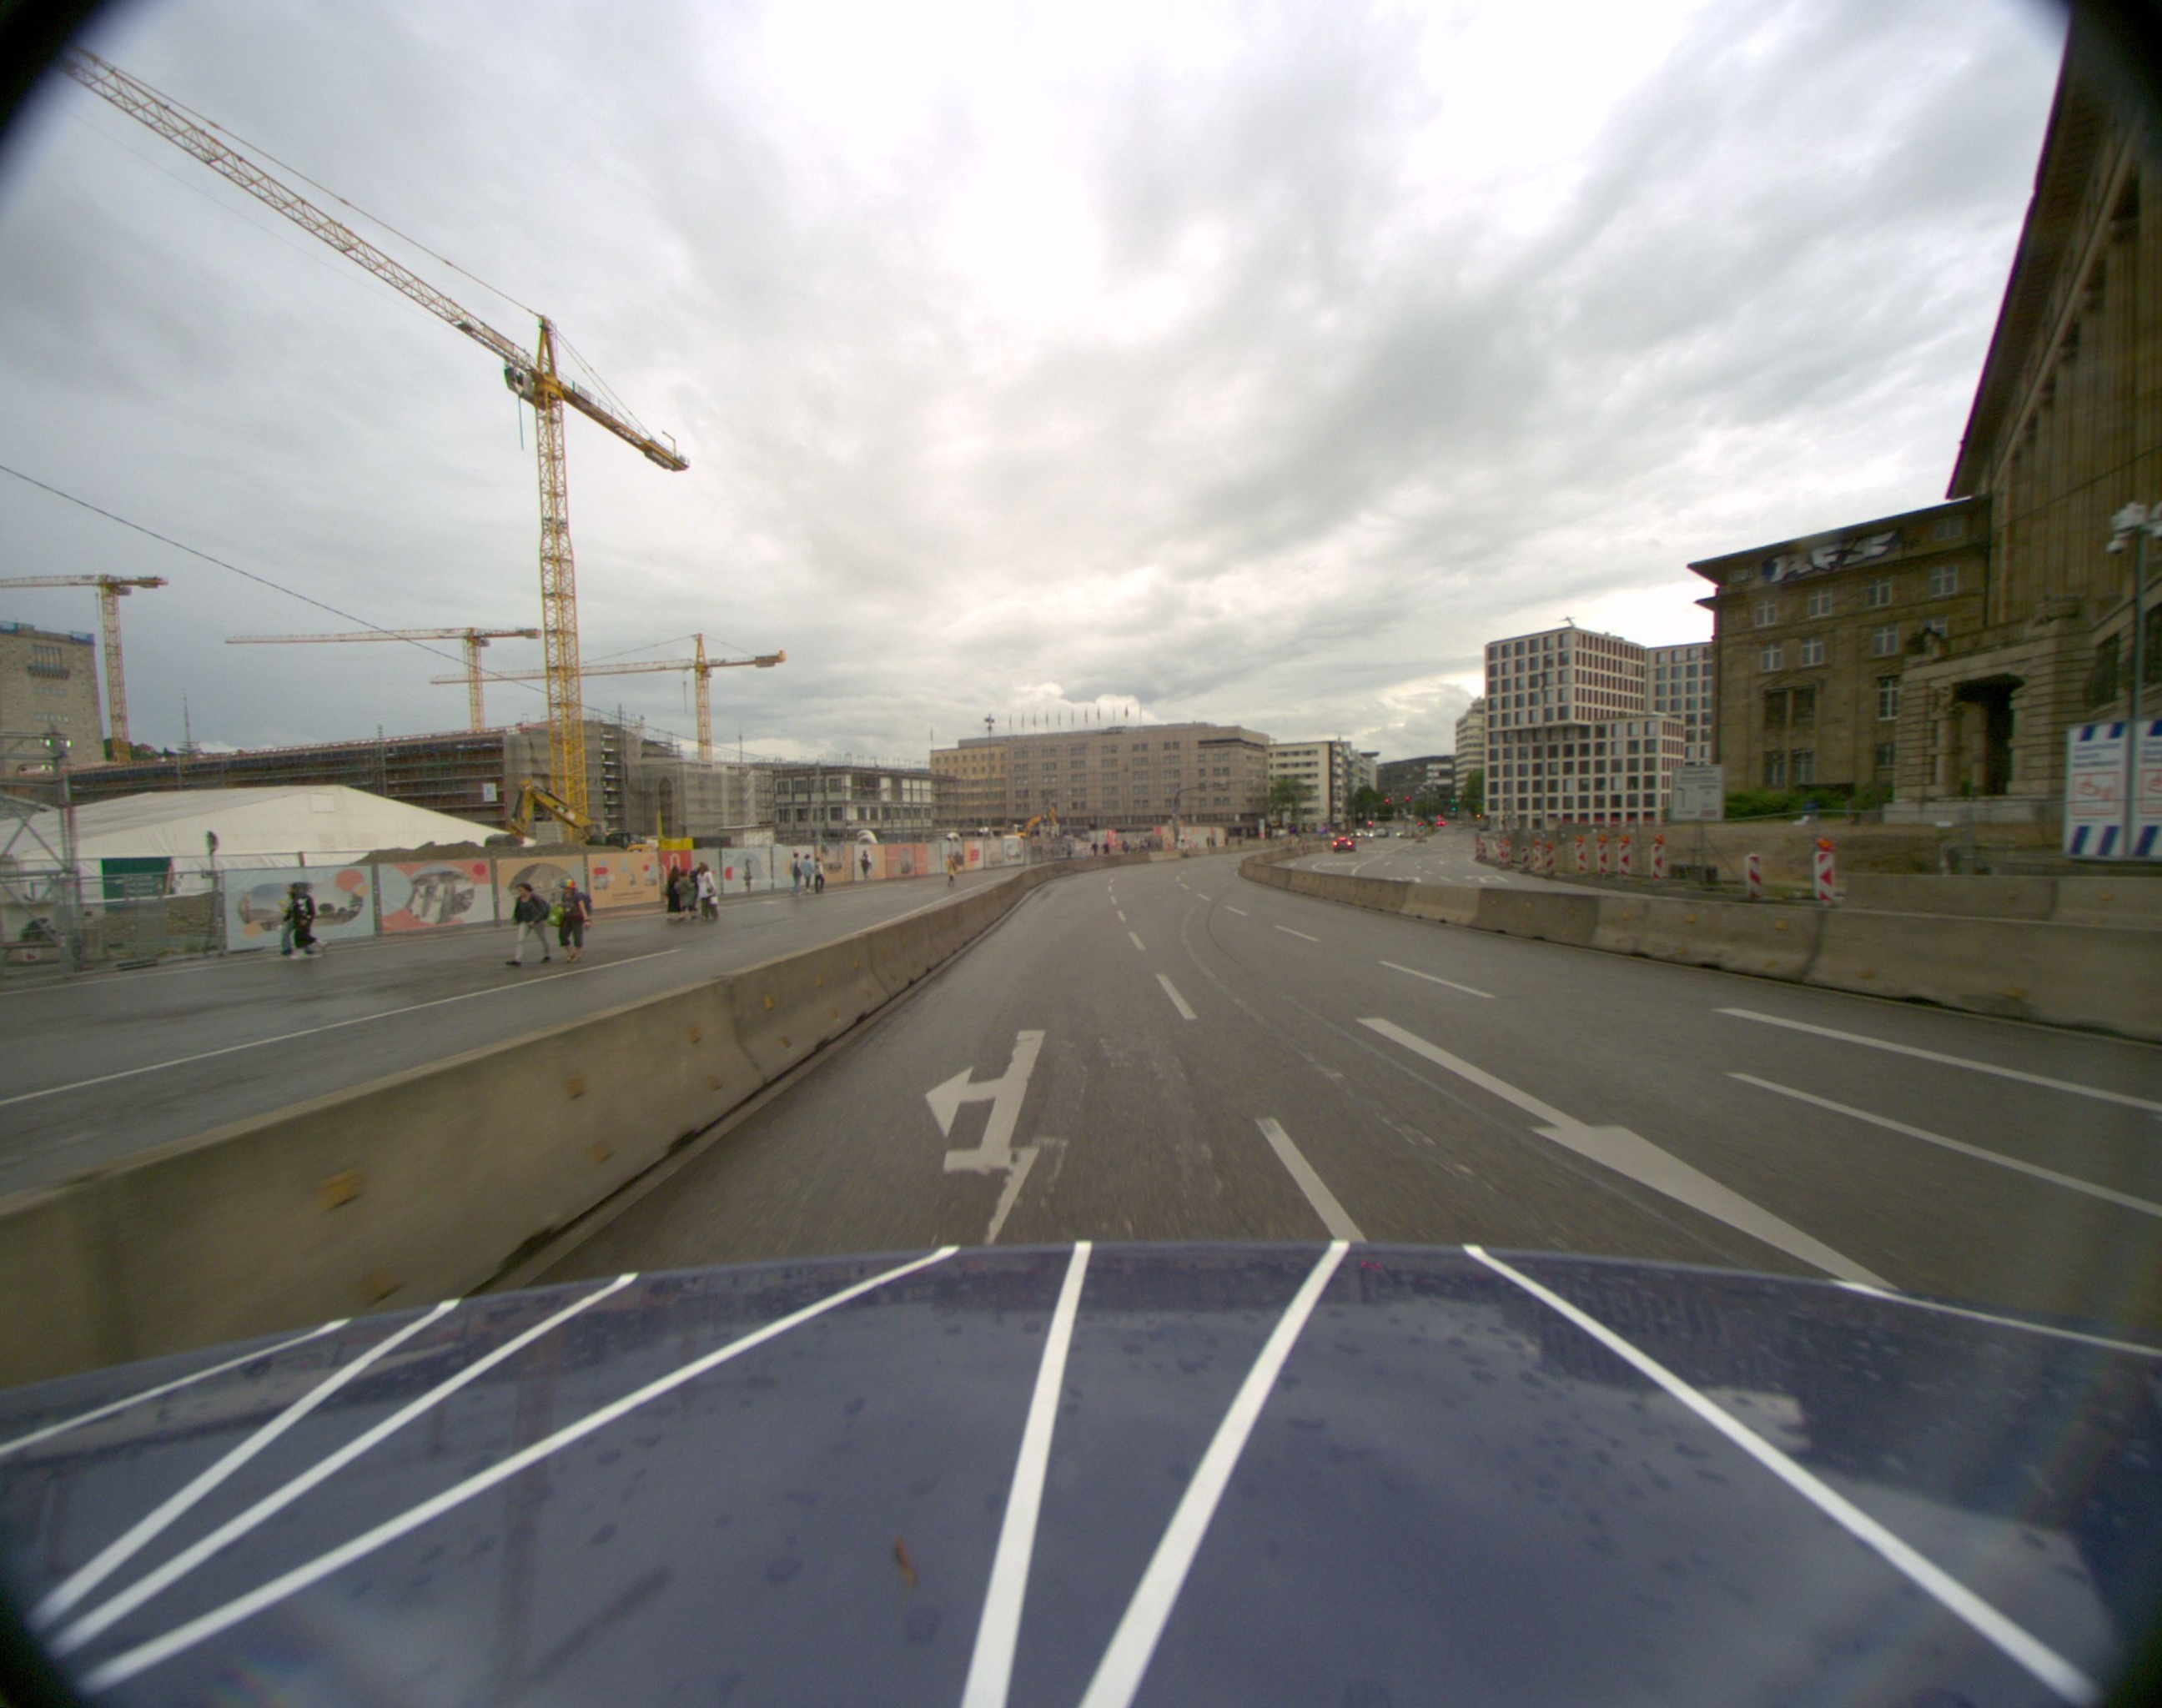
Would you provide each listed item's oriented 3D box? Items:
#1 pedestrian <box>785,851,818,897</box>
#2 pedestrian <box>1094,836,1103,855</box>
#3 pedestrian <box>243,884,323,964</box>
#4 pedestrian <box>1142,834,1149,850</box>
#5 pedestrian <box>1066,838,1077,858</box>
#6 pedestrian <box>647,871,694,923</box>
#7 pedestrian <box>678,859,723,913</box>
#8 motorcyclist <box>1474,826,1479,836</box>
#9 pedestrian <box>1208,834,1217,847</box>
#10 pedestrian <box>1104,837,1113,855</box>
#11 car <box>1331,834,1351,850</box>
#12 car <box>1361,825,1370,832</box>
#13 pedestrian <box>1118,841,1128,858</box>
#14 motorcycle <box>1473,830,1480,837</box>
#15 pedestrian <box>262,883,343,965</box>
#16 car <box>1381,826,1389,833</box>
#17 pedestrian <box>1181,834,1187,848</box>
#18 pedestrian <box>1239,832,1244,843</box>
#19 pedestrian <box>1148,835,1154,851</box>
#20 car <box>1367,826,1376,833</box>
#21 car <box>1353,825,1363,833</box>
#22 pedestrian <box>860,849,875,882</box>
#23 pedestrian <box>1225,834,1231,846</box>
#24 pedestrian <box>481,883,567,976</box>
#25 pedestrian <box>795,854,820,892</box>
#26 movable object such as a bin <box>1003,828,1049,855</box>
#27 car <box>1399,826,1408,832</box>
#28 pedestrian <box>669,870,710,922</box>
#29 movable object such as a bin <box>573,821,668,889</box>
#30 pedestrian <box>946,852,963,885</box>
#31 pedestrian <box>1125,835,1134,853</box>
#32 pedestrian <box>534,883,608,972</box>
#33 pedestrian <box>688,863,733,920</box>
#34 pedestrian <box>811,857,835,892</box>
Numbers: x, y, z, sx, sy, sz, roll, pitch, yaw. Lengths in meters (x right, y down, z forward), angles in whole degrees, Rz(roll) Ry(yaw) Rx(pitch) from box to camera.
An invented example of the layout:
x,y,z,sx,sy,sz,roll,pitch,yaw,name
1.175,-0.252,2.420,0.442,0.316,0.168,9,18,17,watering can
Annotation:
x,y,z,sx,sy,sz,roll,pitch,yaw,name
-11.752,0.823,31.941,0.818,1.839,0.933,1,3,37,pedestrian
1.542,-0.778,68.734,0.648,1.734,0.766,1,3,14,pedestrian
-18.404,1.581,17.532,0.866,1.680,1.010,0,3,29,pedestrian
6.771,-1.244,79.599,0.585,1.699,0.677,1,3,12,pedestrian
-0.821,-0.501,64.867,0.745,1.696,0.687,1,3,14,pedestrian
-12.822,1.322,23.744,0.715,1.544,1.009,0,3,20,pedestrian
-13.287,1.108,26.547,0.867,1.808,1.009,0,3,20,pedestrian
59.937,-3.549,115.147,0.703,1.478,0.964,0,3,22,motorcyclist
18.362,-1.892,106.054,1.097,1.751,0.907,2,3,27,pedestrian
2.498,-0.745,68.708,0.648,1.637,0.948,1,3,14,pedestrian
26.205,-1.222,76.467,1.768,1.513,4.392,0,2,20,car
68.977,-6.177,184.049,1.995,1.838,4.005,0,2,22,car
4.155,-0.419,75.134,0.654,1.681,0.777,2,3,24,pedestrian
60.007,-3.113,115.296,0.703,0.888,1.825,0,2,22,motorcycle
-17.511,1.543,17.107,0.866,1.716,1.010,0,3,29,pedestrian
68.397,-5.529,170.805,1.706,1.445,3.800,0,2,22,car
12.558,-1.594,92.412,0.648,1.660,0.766,1,3,12,pedestrian
24.262,-2.479,115.067,0.653,1.751,0.549,1,3,12,pedestrian
7.608,-1.200,82.583,0.648,1.751,0.584,1,3,12,pedestrian
66.298,-5.577,173.426,1.995,1.445,4.005,0,2,22,car
64.335,-5.805,176.528,1.995,1.814,4.005,0,2,22,car
-11.352,0.626,40.422,0.567,1.738,0.495,0,3,19,pedestrian
21.051,-2.019,108.724,0.756,1.751,0.766,1,3,12,pedestrian
-10.439,1.380,14.263,0.861,1.584,0.954,0,3,28,pedestrian
-12.328,0.857,34.197,0.647,1.646,0.767,1,3,37,pedestrian
-5.482,-1.289,76.413,4.135,2.521,1.994,-3,3,-34,movable object such as a bin
72.831,-5.673,171.440,1.788,1.445,3.676,0,2,22,car
-12.142,1.286,23.569,0.609,1.514,0.886,0,3,20,pedestrian
-24.364,-0.034,40.395,1.941,3.390,4.231,-1,2,8,movable object such as a bin
-6.432,0.717,38.758,0.648,1.624,0.907,-1,2,1,pedestrian
4.657,-0.949,72.652,0.654,1.681,0.777,2,3,24,pedestrian
-9.534,1.351,14.226,0.732,1.566,0.806,-2,2,28,pedestrian
-11.508,1.151,23.639,0.778,1.713,0.892,0,3,20,pedestrian
-11.538,0.911,33.985,0.647,1.544,0.767,1,3,37,pedestrian
